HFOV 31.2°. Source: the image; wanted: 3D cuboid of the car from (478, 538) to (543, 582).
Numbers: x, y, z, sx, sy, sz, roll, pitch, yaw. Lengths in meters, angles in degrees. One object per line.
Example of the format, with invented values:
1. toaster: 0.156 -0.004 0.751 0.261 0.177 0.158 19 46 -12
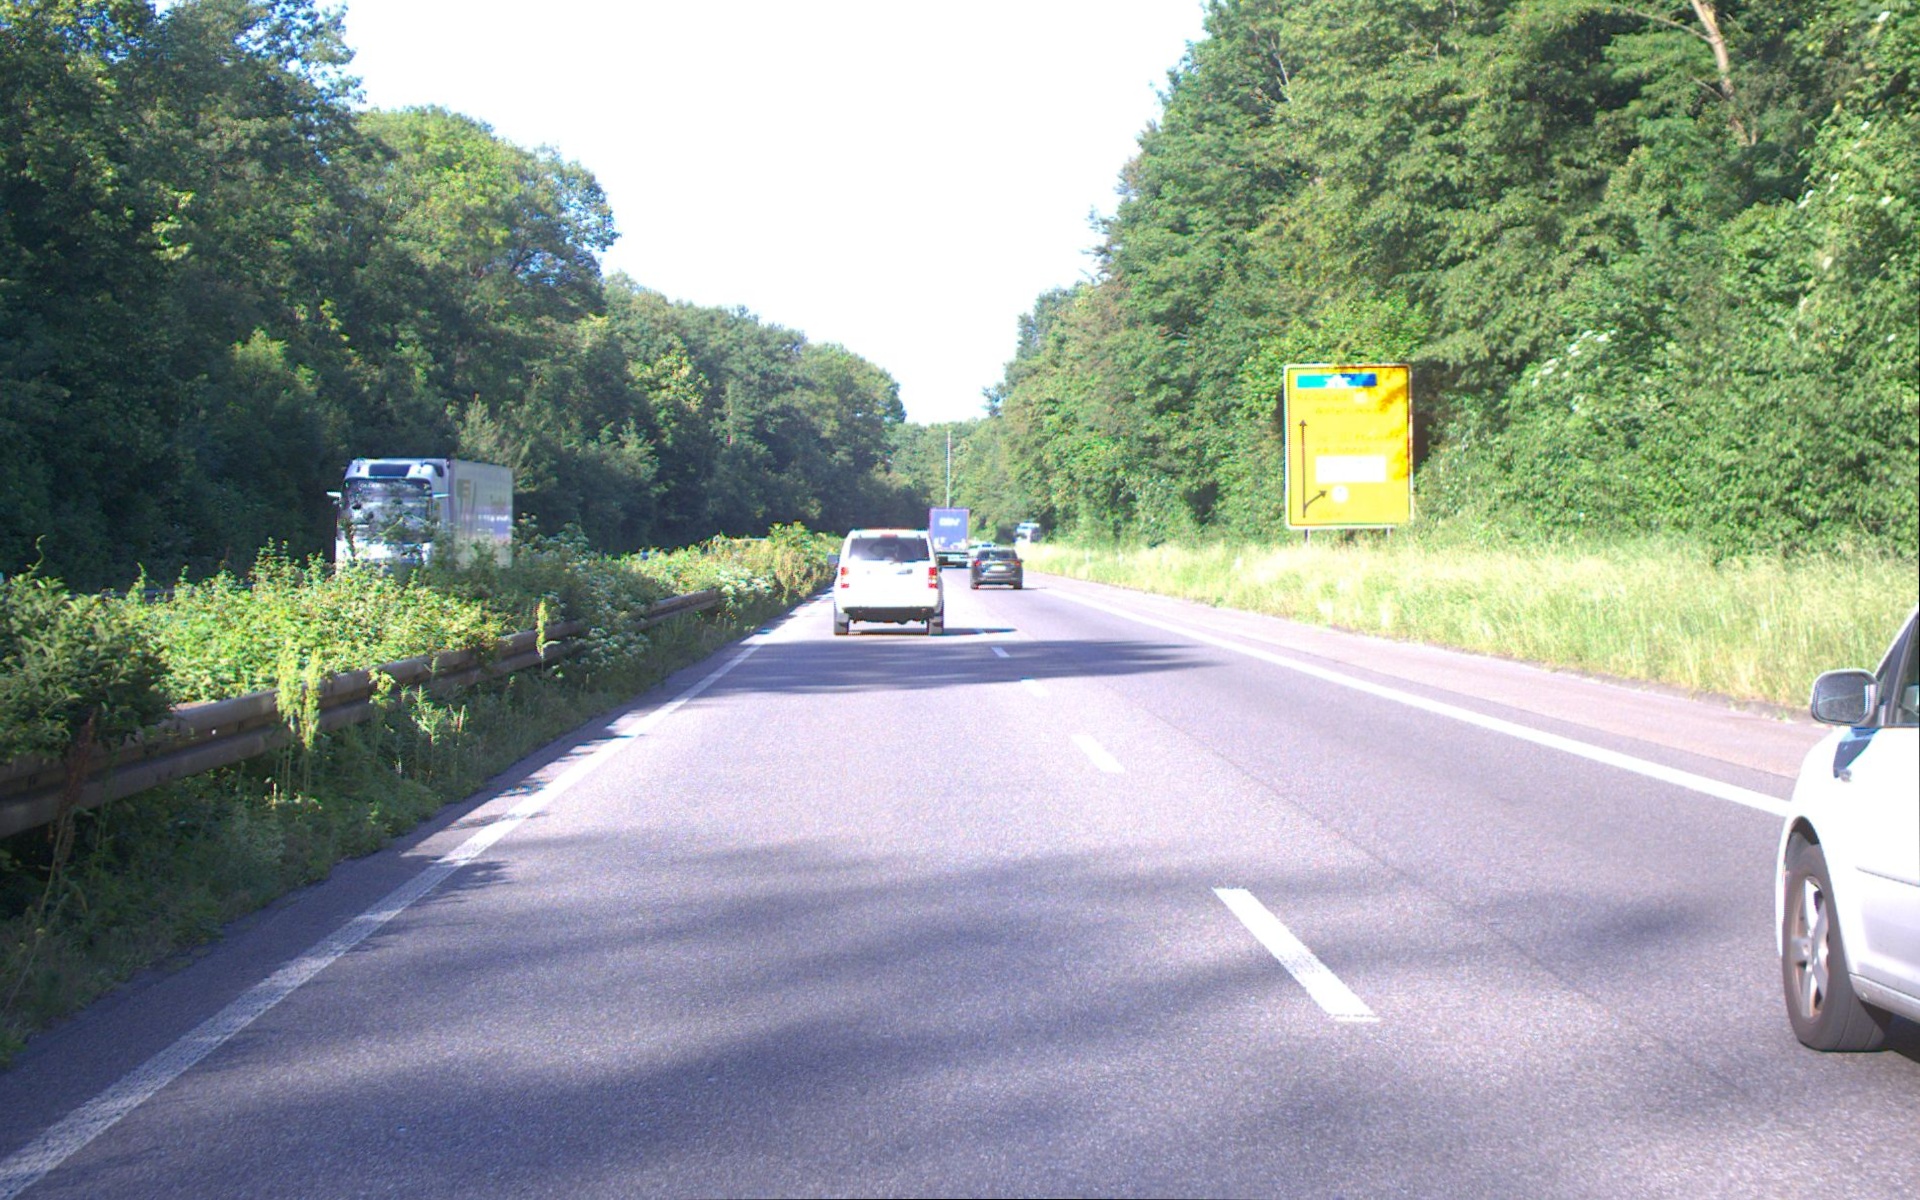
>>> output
1. car: -15.406 -1.375 117.866 1.763 1.468 3.792 1 1 -1

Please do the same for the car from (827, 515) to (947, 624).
1. car: -1.253 -0.525 58.843 1.951 1.776 4.588 1 1 -1

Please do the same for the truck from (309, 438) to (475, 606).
1. truck: -14.077 -1.940 85.623 3.228 3.999 5.677 1 1 -1

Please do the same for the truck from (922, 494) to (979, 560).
1. truck: -0.702 -4.901 233.218 3.734 4.328 9.305 1 1 -1

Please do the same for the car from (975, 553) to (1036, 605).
1. car: 1.574 -0.738 121.361 1.951 1.776 4.588 1 1 -1

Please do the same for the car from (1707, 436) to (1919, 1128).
1. car: 3.413 0.486 8.979 1.799 1.807 4.588 1 1 -1

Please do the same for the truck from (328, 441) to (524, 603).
1. truck: -14.192 -2.079 92.655 3.243 3.999 14.452 1 1 -1
